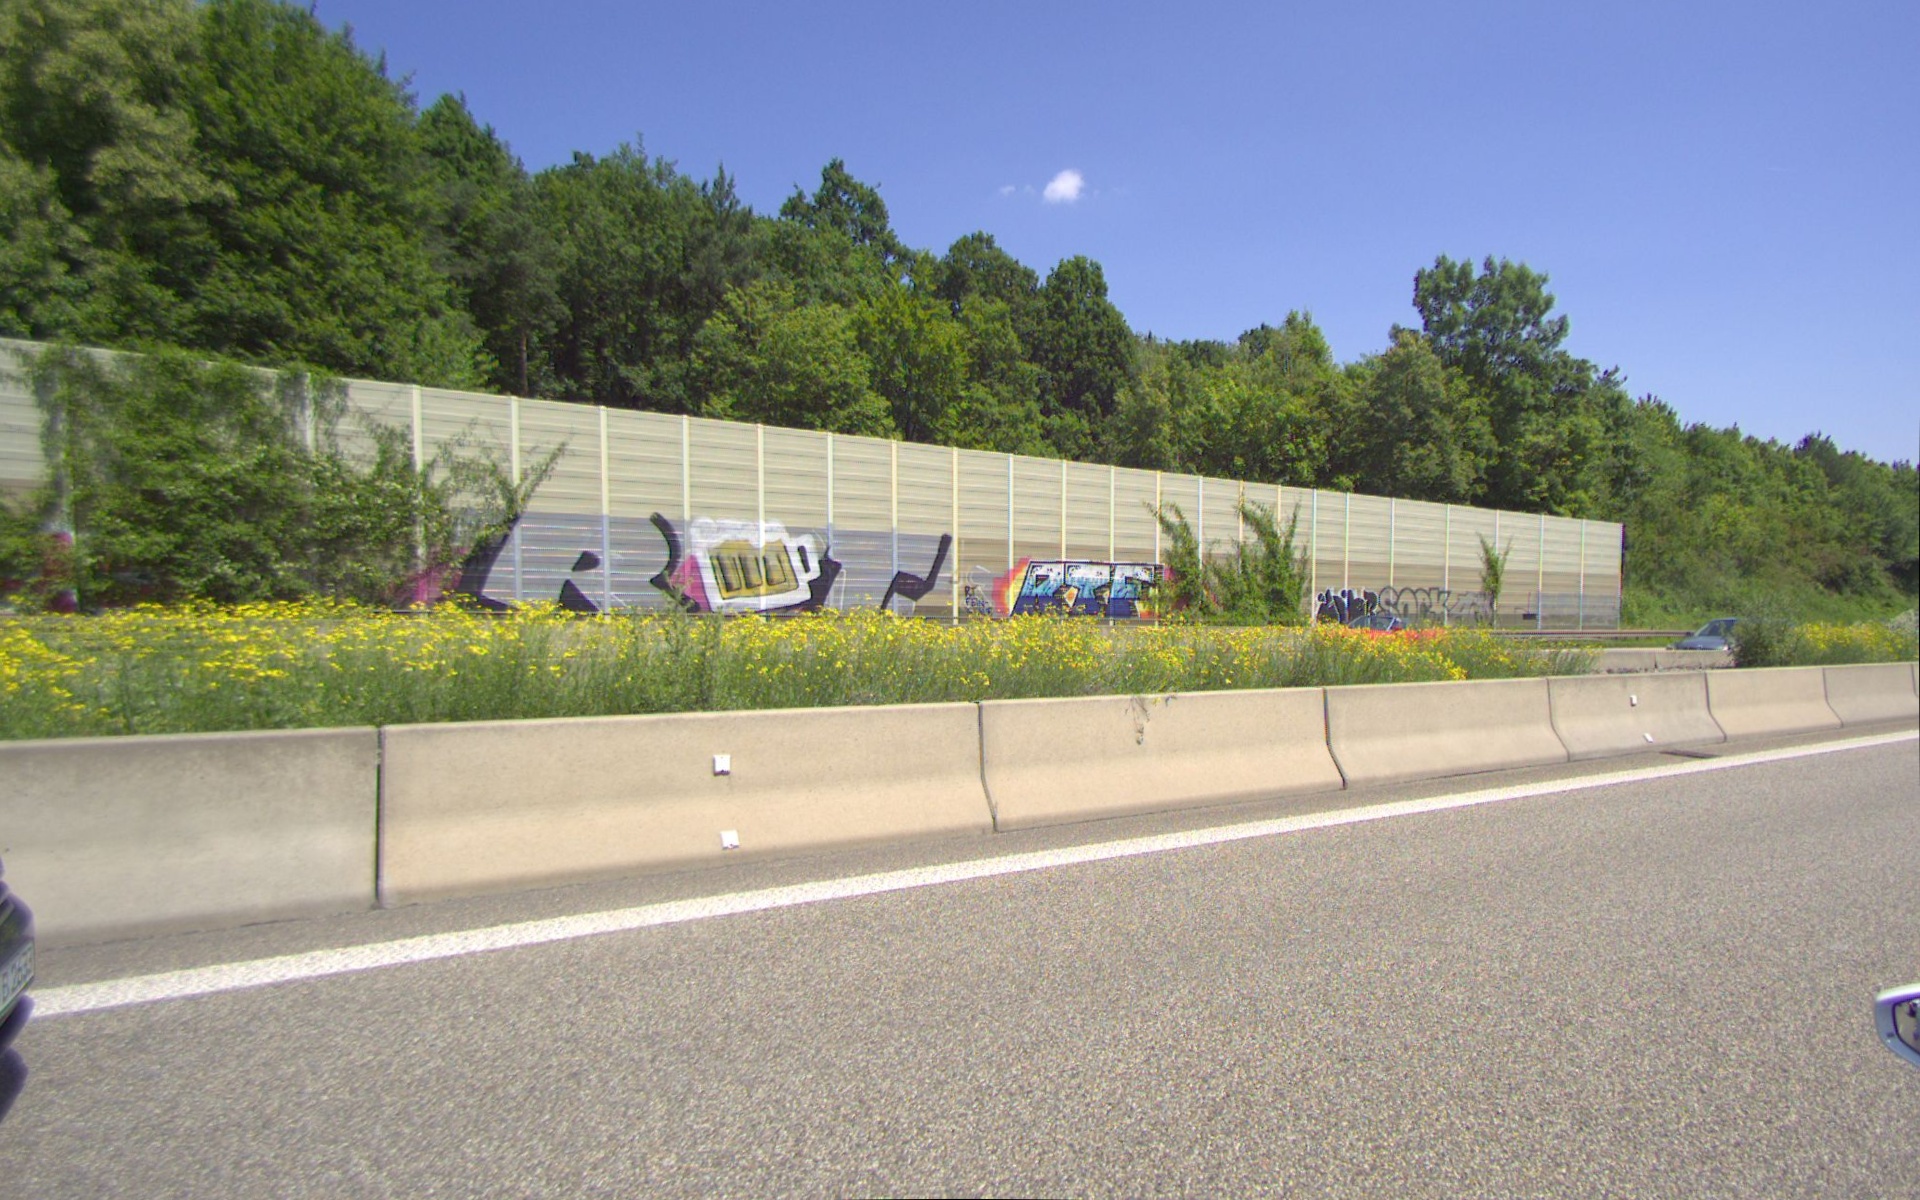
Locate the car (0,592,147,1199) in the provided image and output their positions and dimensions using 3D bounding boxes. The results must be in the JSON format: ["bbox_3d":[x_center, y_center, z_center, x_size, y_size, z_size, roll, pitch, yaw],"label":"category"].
[{"bbox_3d":[-4.397,0.668,1.515,4.674,1.447,1.724,1,0,-30],"label":"car"}]

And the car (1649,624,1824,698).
[{"bbox_3d":[18.699,1.403,24.150,4.659,1.598,1.738,1,0,-31],"label":"car"}]

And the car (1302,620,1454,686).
[{"bbox_3d":[11.564,1.429,27.719,4.139,1.662,1.731,2,-1,-31],"label":"car"}]
